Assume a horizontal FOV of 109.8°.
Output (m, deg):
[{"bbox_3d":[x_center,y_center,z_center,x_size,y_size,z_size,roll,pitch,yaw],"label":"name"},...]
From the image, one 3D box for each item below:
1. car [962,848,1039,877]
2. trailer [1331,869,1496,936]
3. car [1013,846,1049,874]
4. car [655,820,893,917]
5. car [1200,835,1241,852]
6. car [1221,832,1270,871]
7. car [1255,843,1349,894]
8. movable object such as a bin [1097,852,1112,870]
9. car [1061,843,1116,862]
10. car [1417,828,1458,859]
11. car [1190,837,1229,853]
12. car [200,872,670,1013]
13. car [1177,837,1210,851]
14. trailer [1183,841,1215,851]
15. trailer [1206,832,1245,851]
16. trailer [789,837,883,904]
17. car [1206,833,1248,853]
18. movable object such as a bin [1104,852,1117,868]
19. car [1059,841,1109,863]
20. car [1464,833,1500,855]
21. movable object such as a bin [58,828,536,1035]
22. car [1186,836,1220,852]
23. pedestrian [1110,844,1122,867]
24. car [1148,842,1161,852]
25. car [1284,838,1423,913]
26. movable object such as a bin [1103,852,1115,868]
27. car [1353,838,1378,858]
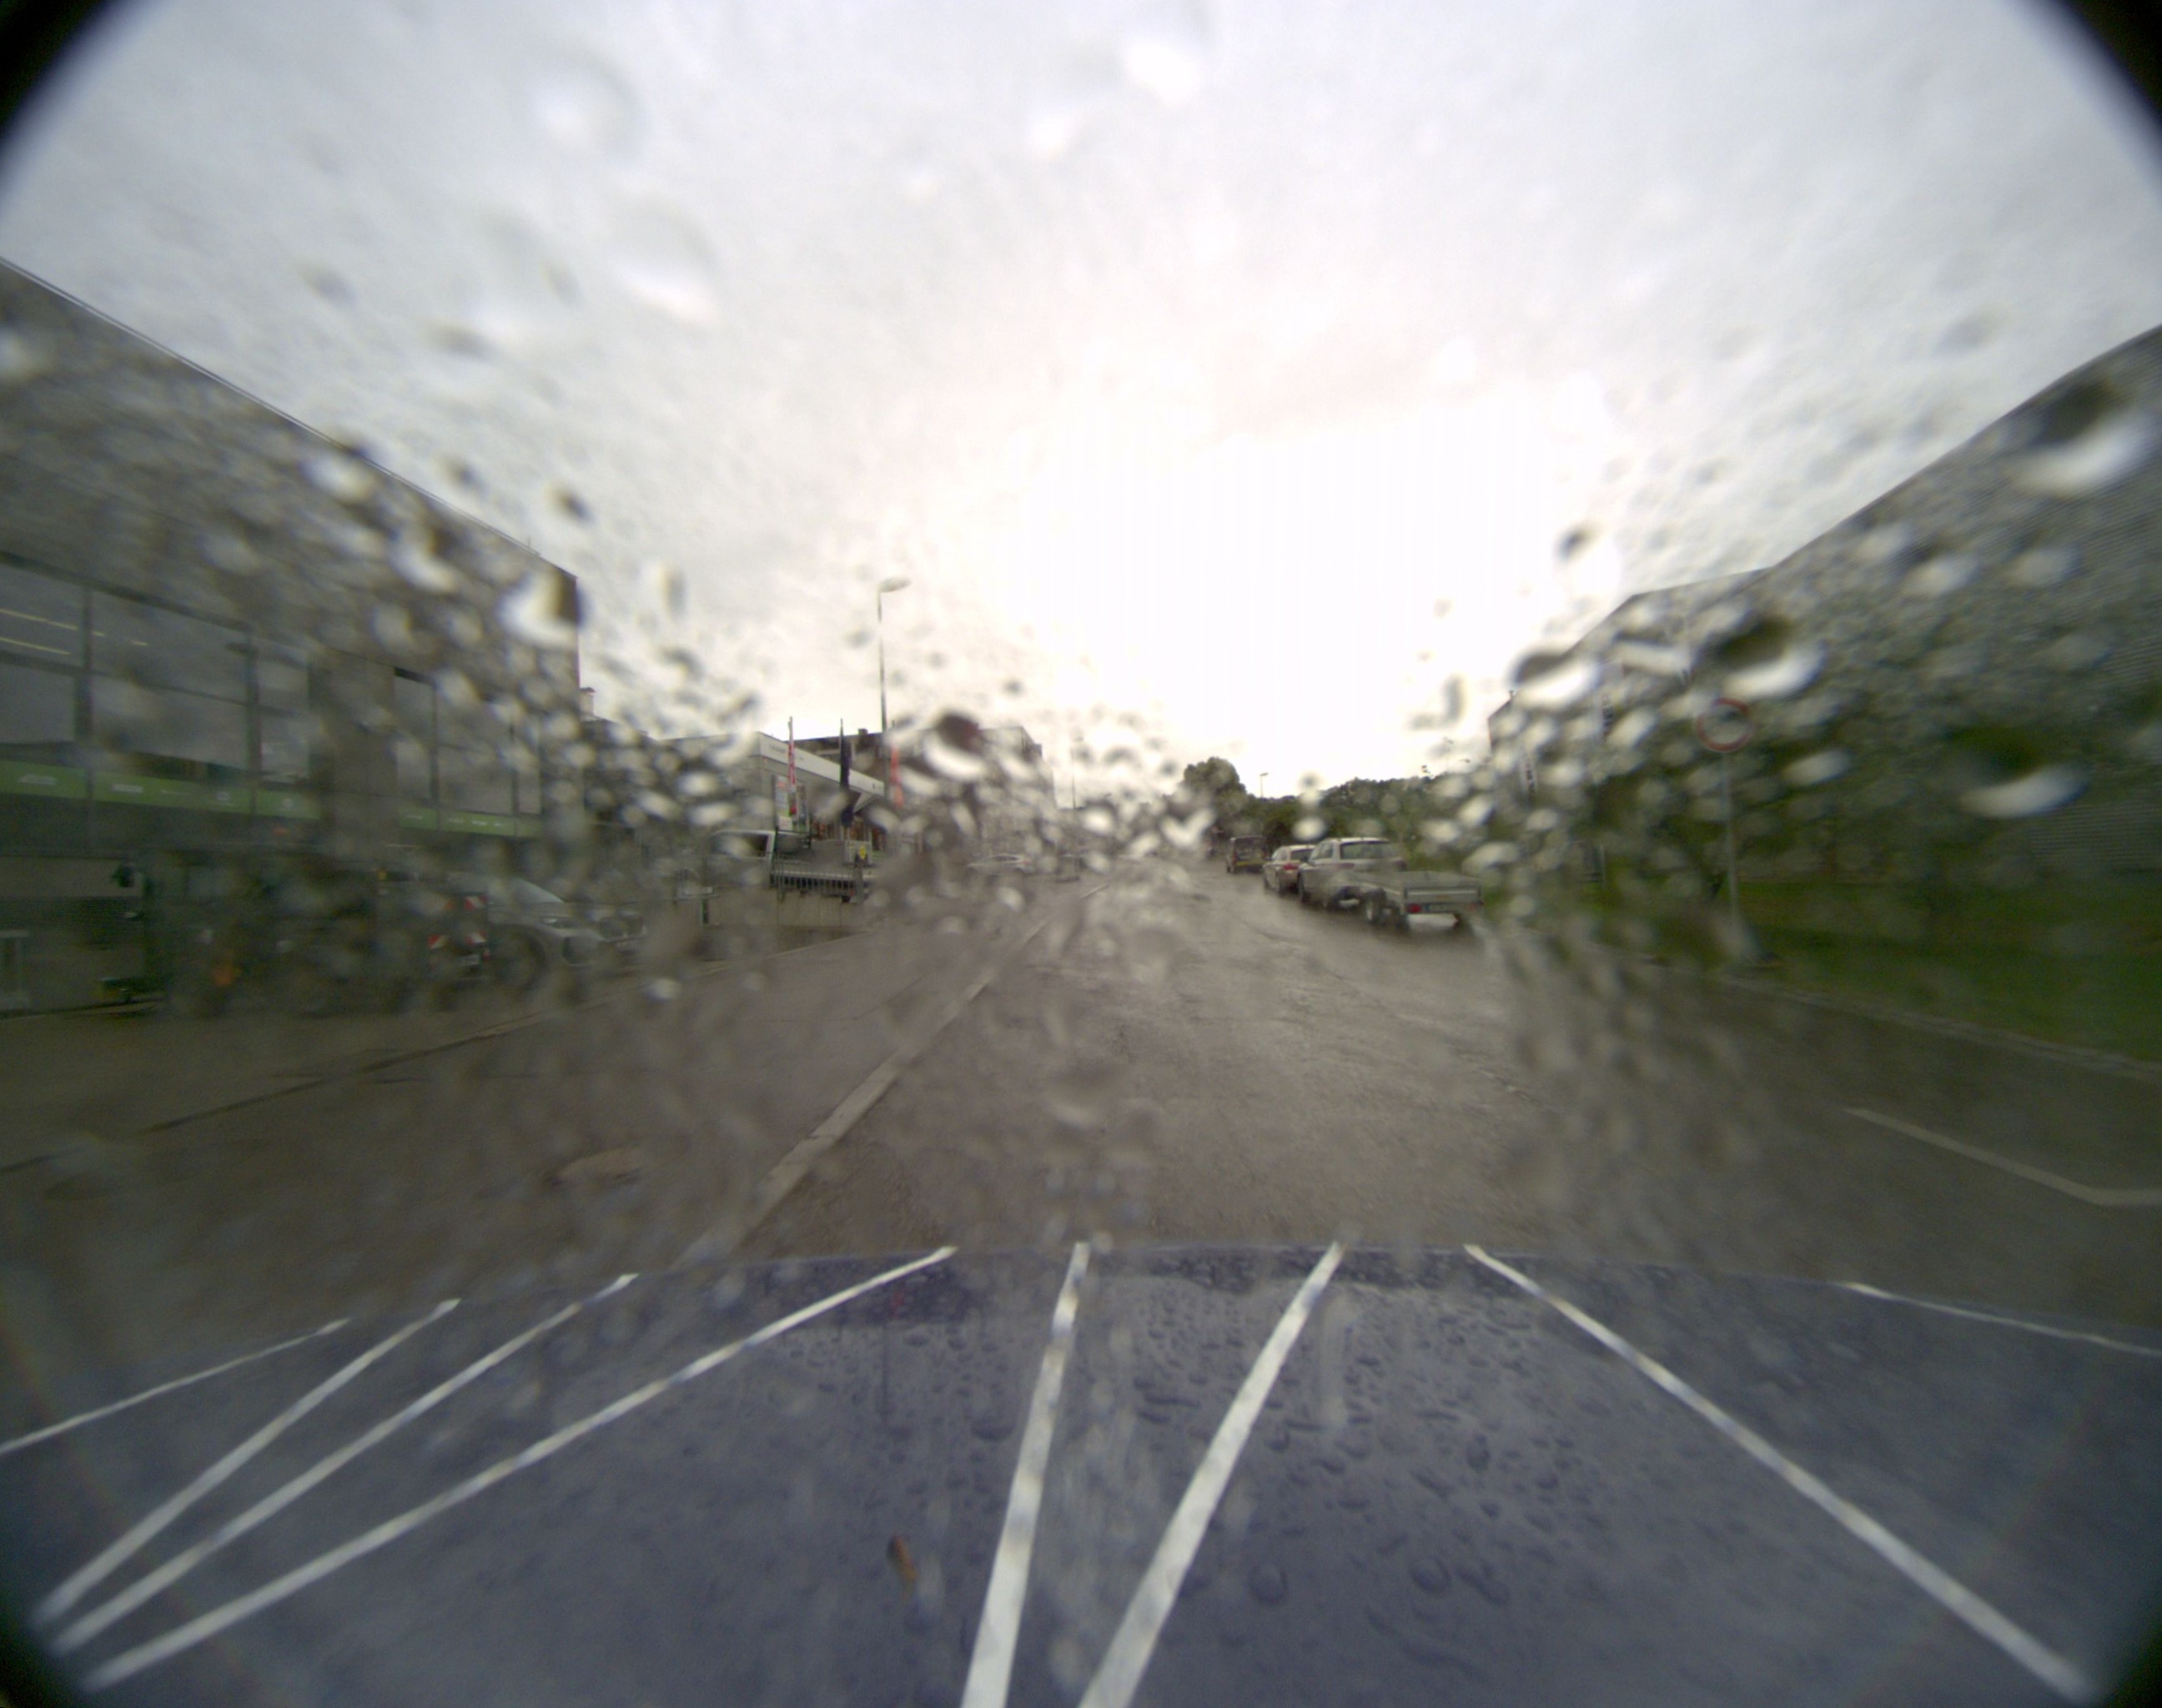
[{"bbox_3d":[-4.644,0.503,44.223,4.129,1.565,2.004,-1,2,4],"label":"car"},{"bbox_3d":[6.227,0.855,14.722,1.684,0.883,3.897,-3,1,4],"label":"trailer"},{"bbox_3d":[-3.445,0.378,53.396,1.752,1.740,4.474,-3,1,5],"label":"car"},{"bbox_3d":[-7.989,0.320,20.065,5.307,2.002,2.222,5,2,7],"label":"car"},{"bbox_3d":[15.986,-1.221,87.216,4.206,1.712,1.754,-3,2,-1],"label":"car"},{"bbox_3d":[8.603,-0.154,39.998,1.919,1.821,4.849,-3,1,6],"label":"car"},{"bbox_3d":[7.232,0.402,25.425,1.960,1.453,5.248,-3,1,5],"label":"car"},{"bbox_3d":[1.515,0.467,49.752,0.730,1.107,0.705,-3,1,21],"label":"movable object such as a bin"},{"bbox_3d":[0.661,-0.107,66.424,4.607,1.530,2.079,-1,1,5],"label":"car"},{"bbox_3d":[24.784,-0.691,52.722,2.130,1.910,5.621,-4,-2,29],"label":"car"},{"bbox_3d":[16.520,-1.190,97.484,4.628,1.581,1.806,-5,1,2],"label":"car"},{"bbox_3d":[-8.889,1.174,10.738,5.102,1.604,1.925,-2,0,4],"label":"car"},{"bbox_3d":[15.977,-1.393,108.172,4.379,1.712,2.044,-3,2,-2],"label":"car"},{"bbox_3d":[15.983,-1.068,103.044,3.951,0.955,2.000,-4,0,0],"label":"trailer"},{"bbox_3d":[17.105,-1.504,90.027,4.222,1.973,1.774,-3,2,2],"label":"trailer"},{"bbox_3d":[-9.736,0.623,30.606,1.891,2.402,4.310,-3,0,6],"label":"trailer"},{"bbox_3d":[15.721,-1.213,82.103,4.308,1.895,1.862,-3,2,8],"label":"car"},{"bbox_3d":[2.035,0.398,52.419,0.773,1.024,0.808,-3,1,6],"label":"movable object such as a bin"},{"bbox_3d":[0.303,-0.166,69.539,4.350,1.763,2.089,-3,1,3],"label":"car"},{"bbox_3d":[26.839,-0.700,50.809,1.995,1.388,4.698,-2,1,29],"label":"car"},{"bbox_3d":[-9.035,0.860,8.923,4.263,2.098,1.477,-2,1,5],"label":"movable object such as a bin"},{"bbox_3d":[16.066,-1.318,100.380,4.083,1.712,2.025,-5,1,4],"label":"car"},{"bbox_3d":[2.726,0.109,58.906,0.738,1.757,0.808,-3,1,6],"label":"pedestrian"},{"bbox_3d":[11.508,-1.133,119.230,1.751,1.500,3.935,-4,1,3],"label":"car"},{"bbox_3d":[6.627,0.429,19.073,1.962,1.568,4.840,-2,1,3],"label":"car"},{"bbox_3d":[1.919,0.422,51.692,0.745,1.060,0.637,-3,1,6],"label":"movable object such as a bin"},{"bbox_3d":[28.656,-0.599,76.456,1.995,1.742,4.393,-2,-3,24],"label":"car"}]
